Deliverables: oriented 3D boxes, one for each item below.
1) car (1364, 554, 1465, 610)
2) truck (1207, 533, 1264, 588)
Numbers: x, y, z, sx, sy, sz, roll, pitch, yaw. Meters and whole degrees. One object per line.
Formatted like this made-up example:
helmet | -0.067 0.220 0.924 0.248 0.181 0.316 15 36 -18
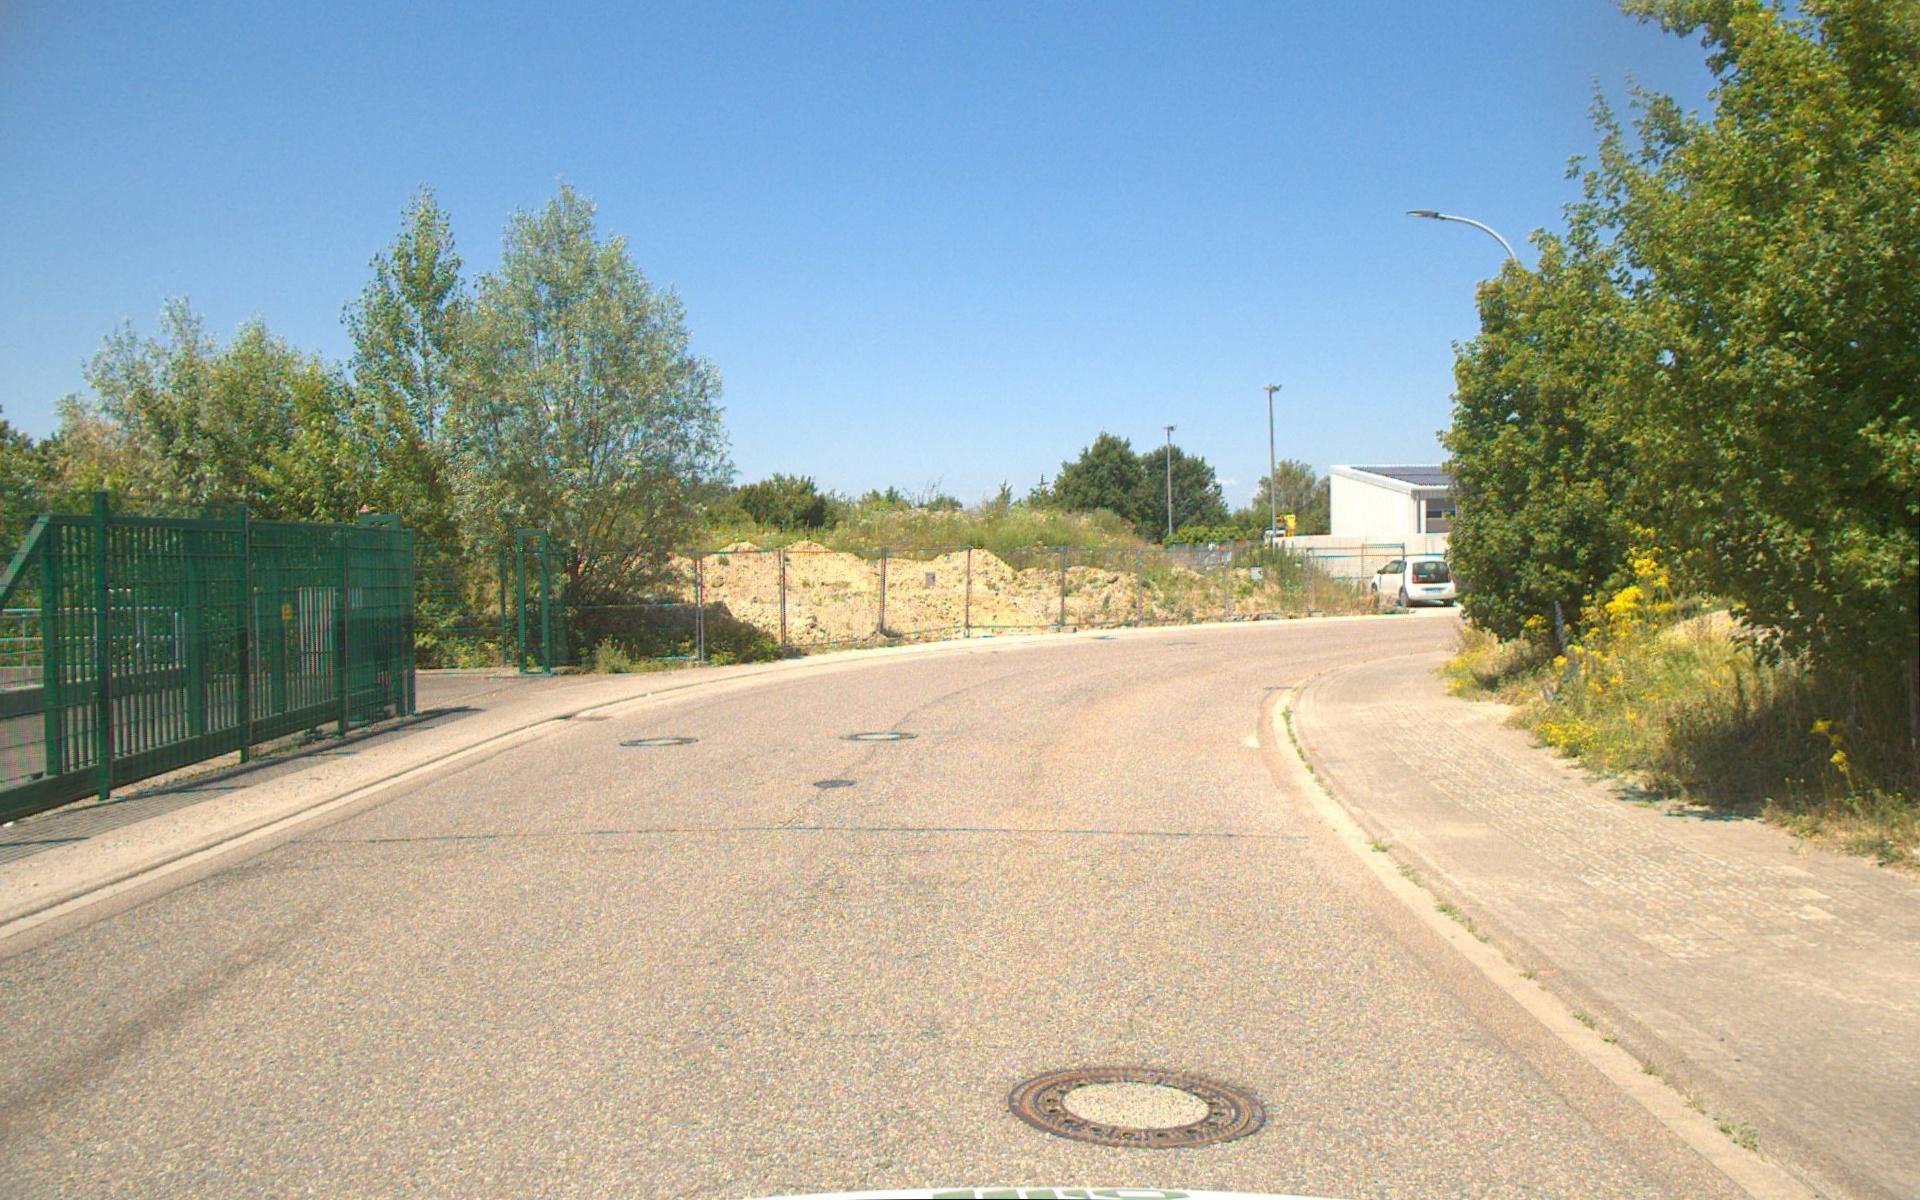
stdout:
car | 14.289 -0.595 52.218 1.750 1.524 3.697 -2 4 -8
truck | 15.927 -2.249 95.932 1.956 3.036 4.638 -2 0 -7
